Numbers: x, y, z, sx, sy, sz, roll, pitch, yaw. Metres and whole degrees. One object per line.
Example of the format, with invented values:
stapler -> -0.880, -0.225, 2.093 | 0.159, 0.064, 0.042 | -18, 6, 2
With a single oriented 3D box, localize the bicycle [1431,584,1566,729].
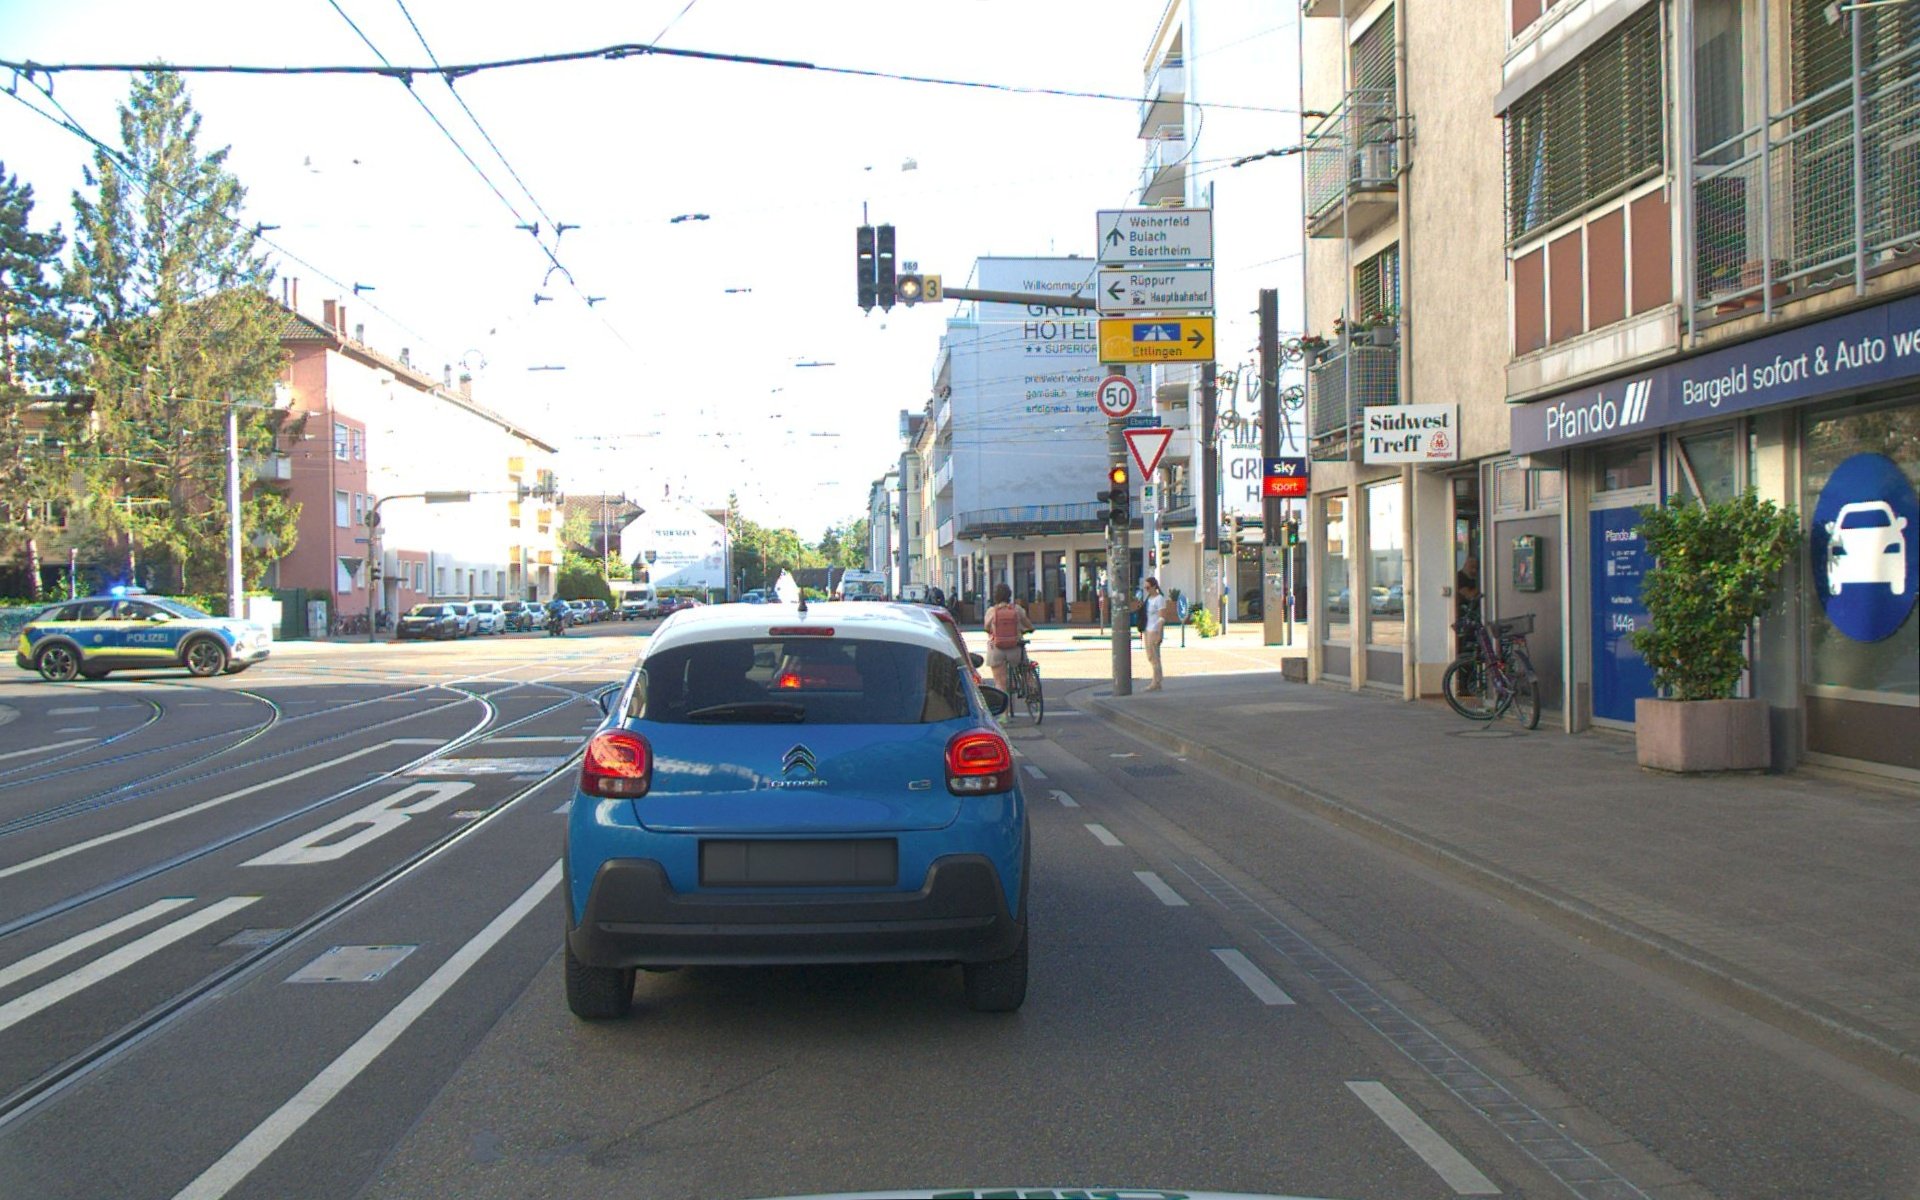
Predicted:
bicycle -> 5.113, 0.501, 15.812 | 0.627, 1.286, 1.910 | -1, 0, -1

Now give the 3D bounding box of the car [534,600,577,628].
car -> -23.931, 0.823, 97.987 | 1.913, 1.545, 3.995 | -1, 0, -6

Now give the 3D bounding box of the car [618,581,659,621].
car -> -23.220, 0.066, 119.571 | 2.446, 2.759, 5.828 | -1, 0, -7

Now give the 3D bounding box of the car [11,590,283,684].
car -> -15.994, 0.706, 32.721 | 4.446, 1.713, 1.790 | -1, 0, -5

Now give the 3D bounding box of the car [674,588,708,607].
car -> -24.898, -0.235, 152.869 | 1.978, 1.656, 5.018 | -1, 0, -23

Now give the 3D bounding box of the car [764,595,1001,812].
car -> -0.679, 0.724, 13.552 | 1.647, 1.488, 3.997 | 1, 0, -4

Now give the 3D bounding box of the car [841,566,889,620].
car -> -4.229, -0.322, 73.171 | 2.039, 2.309, 5.646 | 0, 0, -4

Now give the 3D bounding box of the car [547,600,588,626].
car -> -24.405, 0.808, 102.984 | 1.913, 1.545, 3.995 | -1, 0, -6

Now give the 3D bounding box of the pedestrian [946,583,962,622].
pedestrian -> -0.253, 0.097, 70.924 | 0.544, 1.676, 0.536 | -1, 0, -16

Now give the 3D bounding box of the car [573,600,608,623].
car -> -25.563, 0.788, 114.588 | 1.913, 1.545, 3.995 | -1, 0, -6

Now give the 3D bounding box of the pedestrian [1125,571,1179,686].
pedestrian -> 2.825, 0.408, 24.401 | 0.735, 1.663, 0.740 | -1, 0, 5

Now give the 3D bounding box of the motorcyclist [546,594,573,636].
motorcyclist -> -16.204, 0.606, 66.946 | 0.973, 1.659, 0.737 | -1, 0, -10

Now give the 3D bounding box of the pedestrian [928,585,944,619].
pedestrian -> -1.009, 0.084, 70.231 | 0.514, 1.445, 0.547 | -1, 0, 19

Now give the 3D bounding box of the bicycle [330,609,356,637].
bicycle -> -24.980, 0.920, 66.985 | 0.628, 1.101, 1.905 | -1, 0, -11

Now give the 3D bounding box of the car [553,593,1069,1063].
car -> -0.613, 0.729, 7.344 | 1.647, 1.488, 3.997 | 1, 0, -4

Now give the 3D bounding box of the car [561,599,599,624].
car -> -24.847, 0.749, 108.257 | 1.913, 1.545, 3.995 | -1, 0, -6

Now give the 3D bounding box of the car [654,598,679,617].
car -> -25.570, 0.642, 144.160 | 1.913, 1.545, 3.995 | -1, 0, -6

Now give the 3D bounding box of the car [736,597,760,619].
car -> -21.806, 0.805, 170.487 | 2.293, 2.074, 5.044 | -1, 0, -6

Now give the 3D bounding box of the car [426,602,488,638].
car -> -22.552, 0.876, 74.250 | 1.913, 1.545, 4.040 | -1, 0, -6

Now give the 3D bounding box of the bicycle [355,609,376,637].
bicycle -> -24.228, 0.937, 67.410 | 0.527, 1.101, 1.905 | -1, 0, -11

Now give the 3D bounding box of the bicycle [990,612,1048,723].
bicycle -> 0.721, 0.811, 20.629 | 0.601, 1.286, 1.910 | -1, 0, -1

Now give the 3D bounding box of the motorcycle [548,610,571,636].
motorcycle -> -16.224, 0.939, 67.014 | 0.738, 0.993, 2.092 | -1, 0, -9

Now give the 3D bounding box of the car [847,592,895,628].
car -> -3.674, 0.379, 67.733 | 1.752, 1.383, 3.909 | -1, 0, -6

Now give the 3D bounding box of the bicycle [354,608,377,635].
bicycle -> -25.872, 0.929, 71.981 | 0.527, 1.101, 1.908 | -1, 0, -7

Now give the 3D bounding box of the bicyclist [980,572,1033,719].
bicyclist -> 0.568, 0.549, 20.589 | 0.588, 1.776, 1.084 | -1, 0, -1

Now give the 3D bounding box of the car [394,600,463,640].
car -> -22.013, 0.791, 68.645 | 1.913, 1.545, 3.995 | -1, 0, -6

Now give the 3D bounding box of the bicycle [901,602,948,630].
bicycle -> -1.444, 0.660, 67.078 | 1.868, 1.083, 0.641 | -1, 0, -8

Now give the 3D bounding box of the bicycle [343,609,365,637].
bicycle -> -24.587, 0.930, 67.111 | 0.527, 1.101, 1.905 | -1, 0, -11

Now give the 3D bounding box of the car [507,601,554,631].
car -> -23.761, 0.856, 91.562 | 1.913, 1.545, 3.995 | -1, 0, -6

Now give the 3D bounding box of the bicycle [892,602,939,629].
bicycle -> -1.859, 0.637, 68.264 | 1.868, 1.083, 0.641 | -1, 0, -8

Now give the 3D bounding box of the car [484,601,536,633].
car -> -23.231, 0.840, 85.513 | 1.913, 1.545, 3.995 | -1, 0, -6

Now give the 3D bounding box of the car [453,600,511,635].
car -> -22.754, 0.820, 78.856 | 1.913, 1.545, 3.995 | -1, 0, -6

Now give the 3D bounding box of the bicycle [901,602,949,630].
bicycle -> -1.392, 0.635, 65.773 | 1.868, 1.083, 0.641 | -1, 0, -8

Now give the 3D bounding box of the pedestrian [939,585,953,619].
pedestrian -> -0.584, 0.079, 69.986 | 0.459, 1.445, 0.525 | -1, 0, -13

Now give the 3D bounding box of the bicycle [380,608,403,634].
bicycle -> -25.670, 0.942, 74.686 | 0.597, 1.101, 1.908 | -1, 0, -7
